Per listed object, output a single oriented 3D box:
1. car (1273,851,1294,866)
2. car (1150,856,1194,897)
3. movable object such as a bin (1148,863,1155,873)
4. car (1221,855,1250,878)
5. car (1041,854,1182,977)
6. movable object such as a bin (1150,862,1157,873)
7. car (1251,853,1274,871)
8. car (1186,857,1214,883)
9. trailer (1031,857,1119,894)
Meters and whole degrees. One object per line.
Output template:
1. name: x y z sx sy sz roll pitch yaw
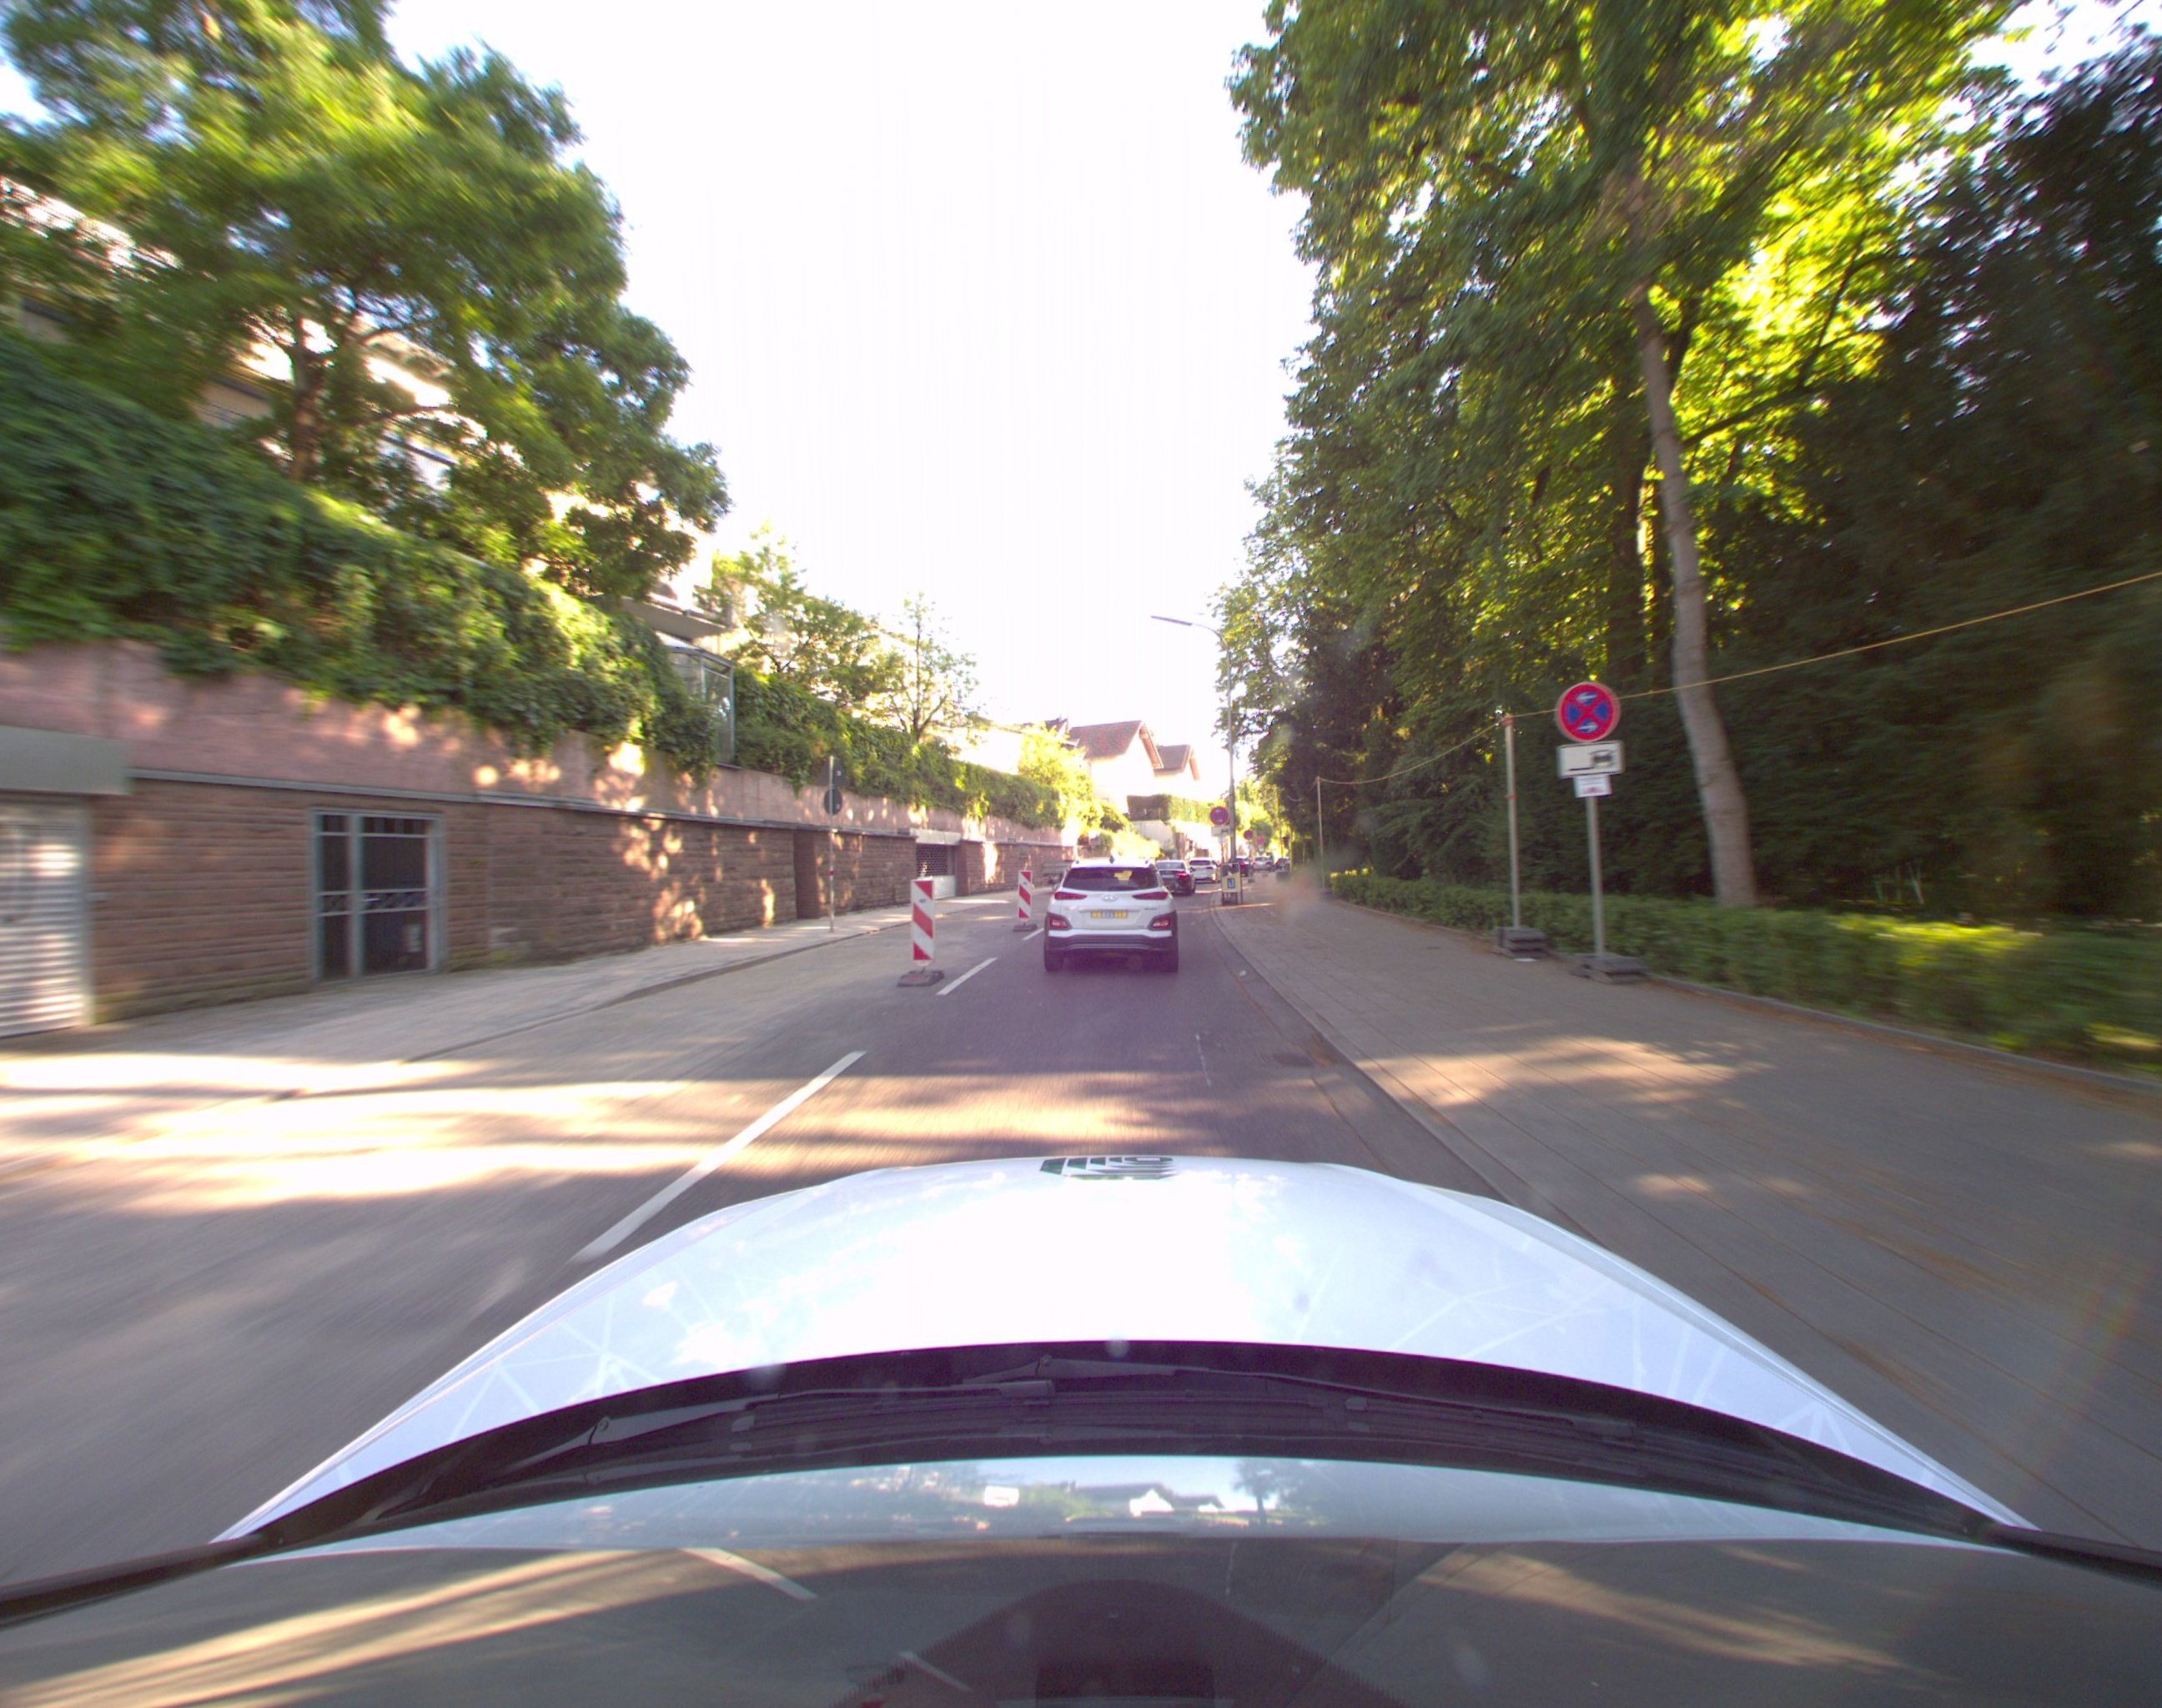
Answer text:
1. car: 22.929 0.510 92.123 1.679 1.504 3.650 -6 -1 22
2. car: 3.822 0.878 33.799 1.503 1.533 3.557 -3 0 10
3. movable object such as a bin: 5.989 1.152 69.183 0.450 0.834 0.394 -2 -1 21
4. car: 12.153 0.980 63.941 1.680 1.533 3.899 -6 -1 18
5. car: 0.426 0.787 12.343 1.766 1.542 4.001 -1 0 1
6. movable object such as a bin: 6.166 1.159 69.622 0.452 0.884 0.503 -2 0 21
7. car: 17.621 0.743 79.105 1.680 1.447 3.900 -5 -1 18
8. car: 7.137 0.941 48.643 1.561 1.477 3.556 -1 0 9
9. trailer: -0.115 0.923 37.696 2.622 1.489 7.141 -1 0 11
